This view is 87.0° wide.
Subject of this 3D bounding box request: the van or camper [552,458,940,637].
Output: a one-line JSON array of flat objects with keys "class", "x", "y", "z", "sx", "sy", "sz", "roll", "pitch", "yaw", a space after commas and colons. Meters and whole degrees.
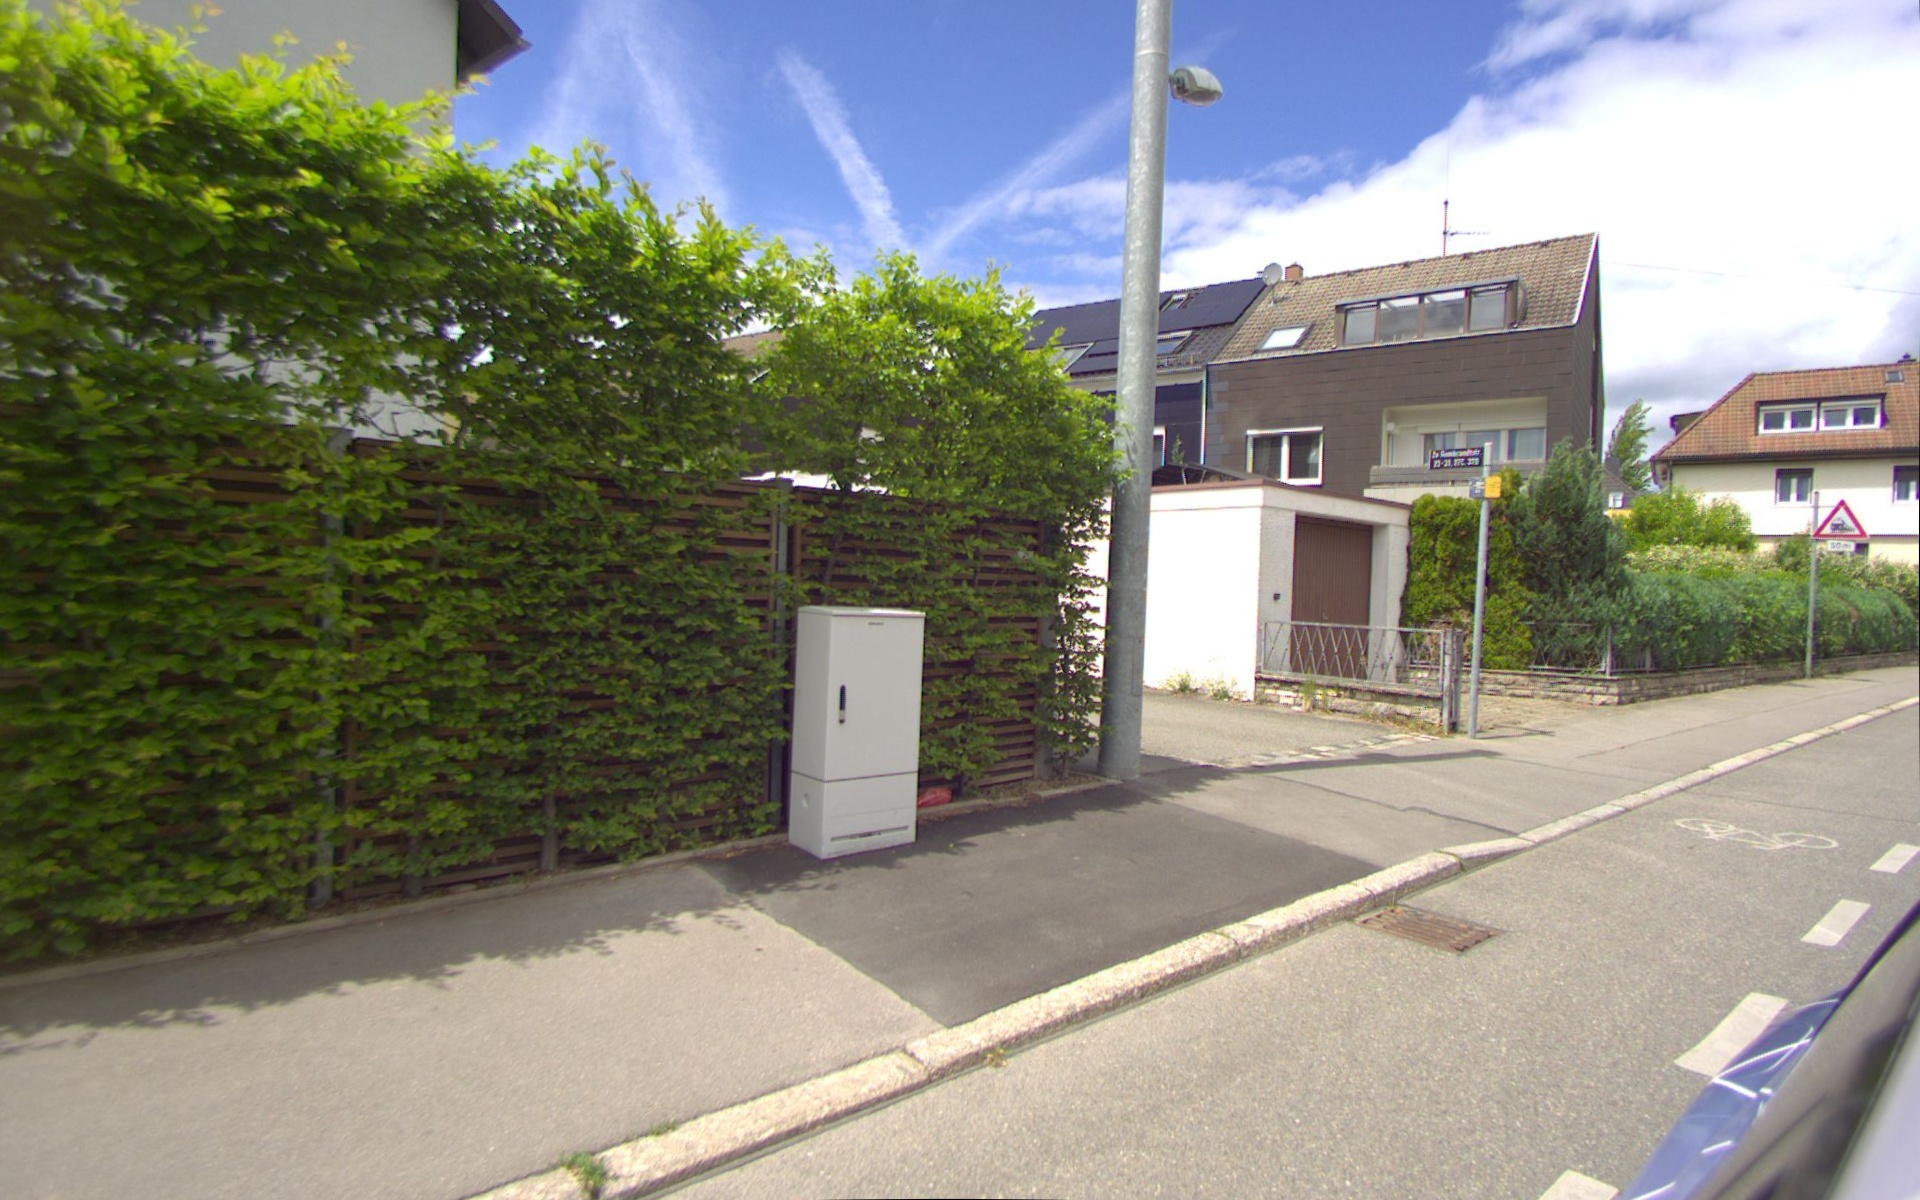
[{"class": "van or camper", "x": -4.769, "y": -0.991, "z": 21.833, "sx": 8.596, "sy": 3.344, "sz": 2.397, "roll": 0, "pitch": 0, "yaw": 26}]
